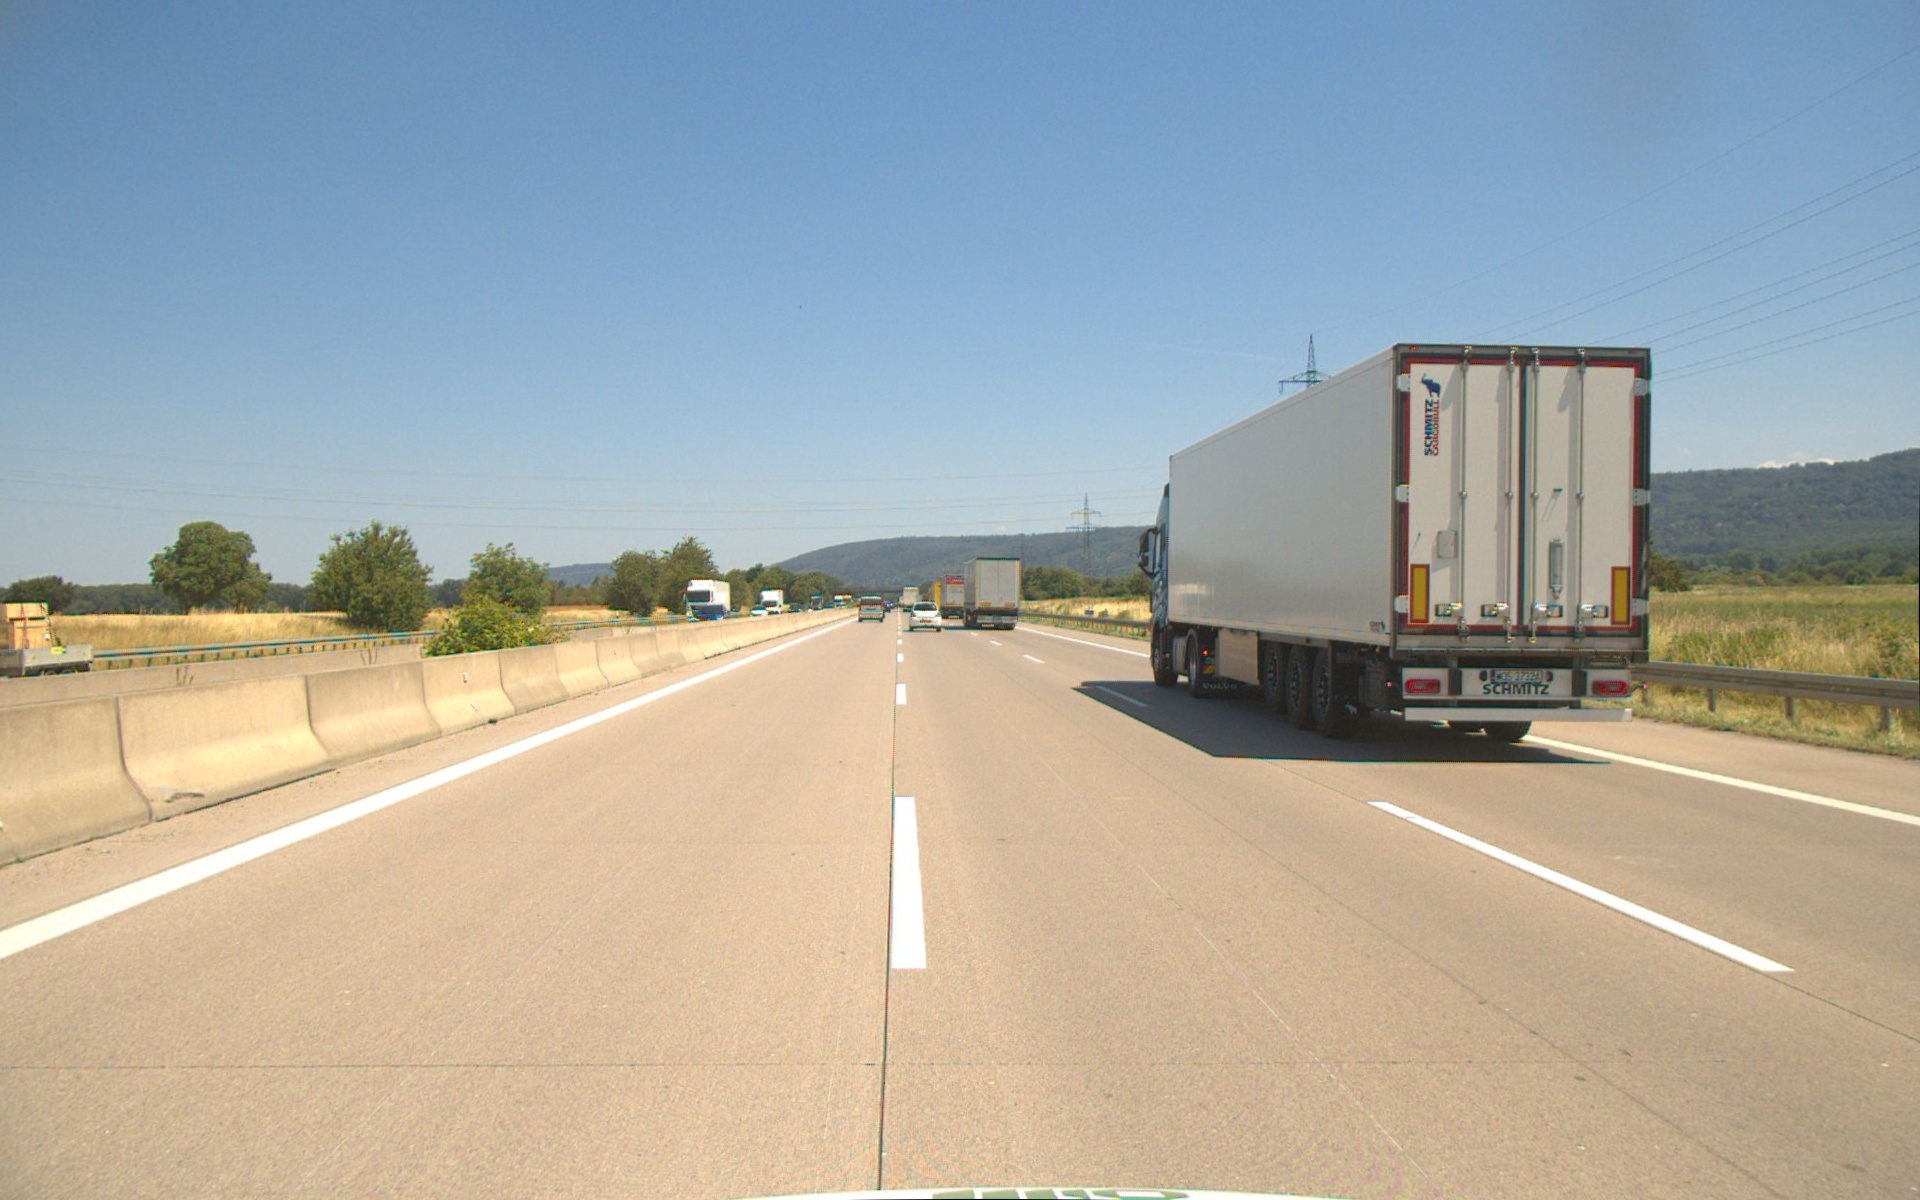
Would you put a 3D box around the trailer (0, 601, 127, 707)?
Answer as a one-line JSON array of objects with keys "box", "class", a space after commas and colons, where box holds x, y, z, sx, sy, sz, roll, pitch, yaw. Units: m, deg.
[{"box": [-19.990, 1.070, 35.327, 1.773, 2.078, 5.610, 1, 0, -3], "class": "trailer"}]

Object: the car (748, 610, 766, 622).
[{"box": [-21.293, 1.645, 173.443, 1.647, 1.166, 4.394, 0, 0, -4], "class": "car"}]

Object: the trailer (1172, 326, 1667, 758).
[{"box": [5.262, -0.536, 22.359, 2.654, 4.114, 12.896, 1, 0, -2], "class": "trailer"}]

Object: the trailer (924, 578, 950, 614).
[{"box": [-3.192, -0.551, 222.447, 3.151, 4.643, 13.451, 1, 0, -2], "class": "trailer"}]

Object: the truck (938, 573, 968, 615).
[{"box": [-0.740, -0.572, 166.594, 2.847, 4.172, 6.270, 1, 0, -1], "class": "truck"}]

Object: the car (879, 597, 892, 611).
[{"box": [-10.837, 0.568, 239.847, 1.748, 1.914, 3.998, 1, 0, -2], "class": "car"}]

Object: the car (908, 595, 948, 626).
[{"box": [-1.680, 0.557, 87.352, 2.064, 1.563, 4.121, 1, 0, -1], "class": "car"}]

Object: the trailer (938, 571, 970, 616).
[{"box": [-0.689, -0.588, 161.141, 2.815, 4.172, 13.508, 1, 0, -1], "class": "trailer"}]

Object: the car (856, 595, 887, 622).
[{"box": [-6.768, 0.650, 126.374, 2.209, 2.049, 4.296, 1, 0, -1], "class": "car"}]

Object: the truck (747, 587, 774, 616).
[{"box": [-22.675, 0.139, 188.175, 2.496, 3.197, 7.919, 0, 0, -2], "class": "truck"}]

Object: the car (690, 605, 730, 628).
[{"box": [-14.358, 0.908, 95.125, 1.736, 1.261, 4.675, 1, 0, -2], "class": "car"}]

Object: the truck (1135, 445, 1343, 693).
[{"box": [4.985, -0.515, 30.500, 2.695, 4.114, 5.463, 1, 0, -2], "class": "truck"}]

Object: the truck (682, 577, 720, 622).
[{"box": [-24.365, -0.002, 155.859, 2.762, 4.115, 5.676, 1, 0, -2], "class": "truck"}]

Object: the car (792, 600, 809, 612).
[{"box": [-19.758, 0.727, 205.071, 1.809, 1.375, 4.492, -1, 0, -1], "class": "car"}]

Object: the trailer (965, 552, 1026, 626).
[{"box": [2.005, -0.597, 99.678, 2.957, 4.132, 14.201, 1, 0, -2], "class": "trailer"}]

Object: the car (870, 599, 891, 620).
[{"box": [-7.642, 0.929, 158.978, 1.953, 1.991, 3.998, 1, 0, -2], "class": "car"}]
